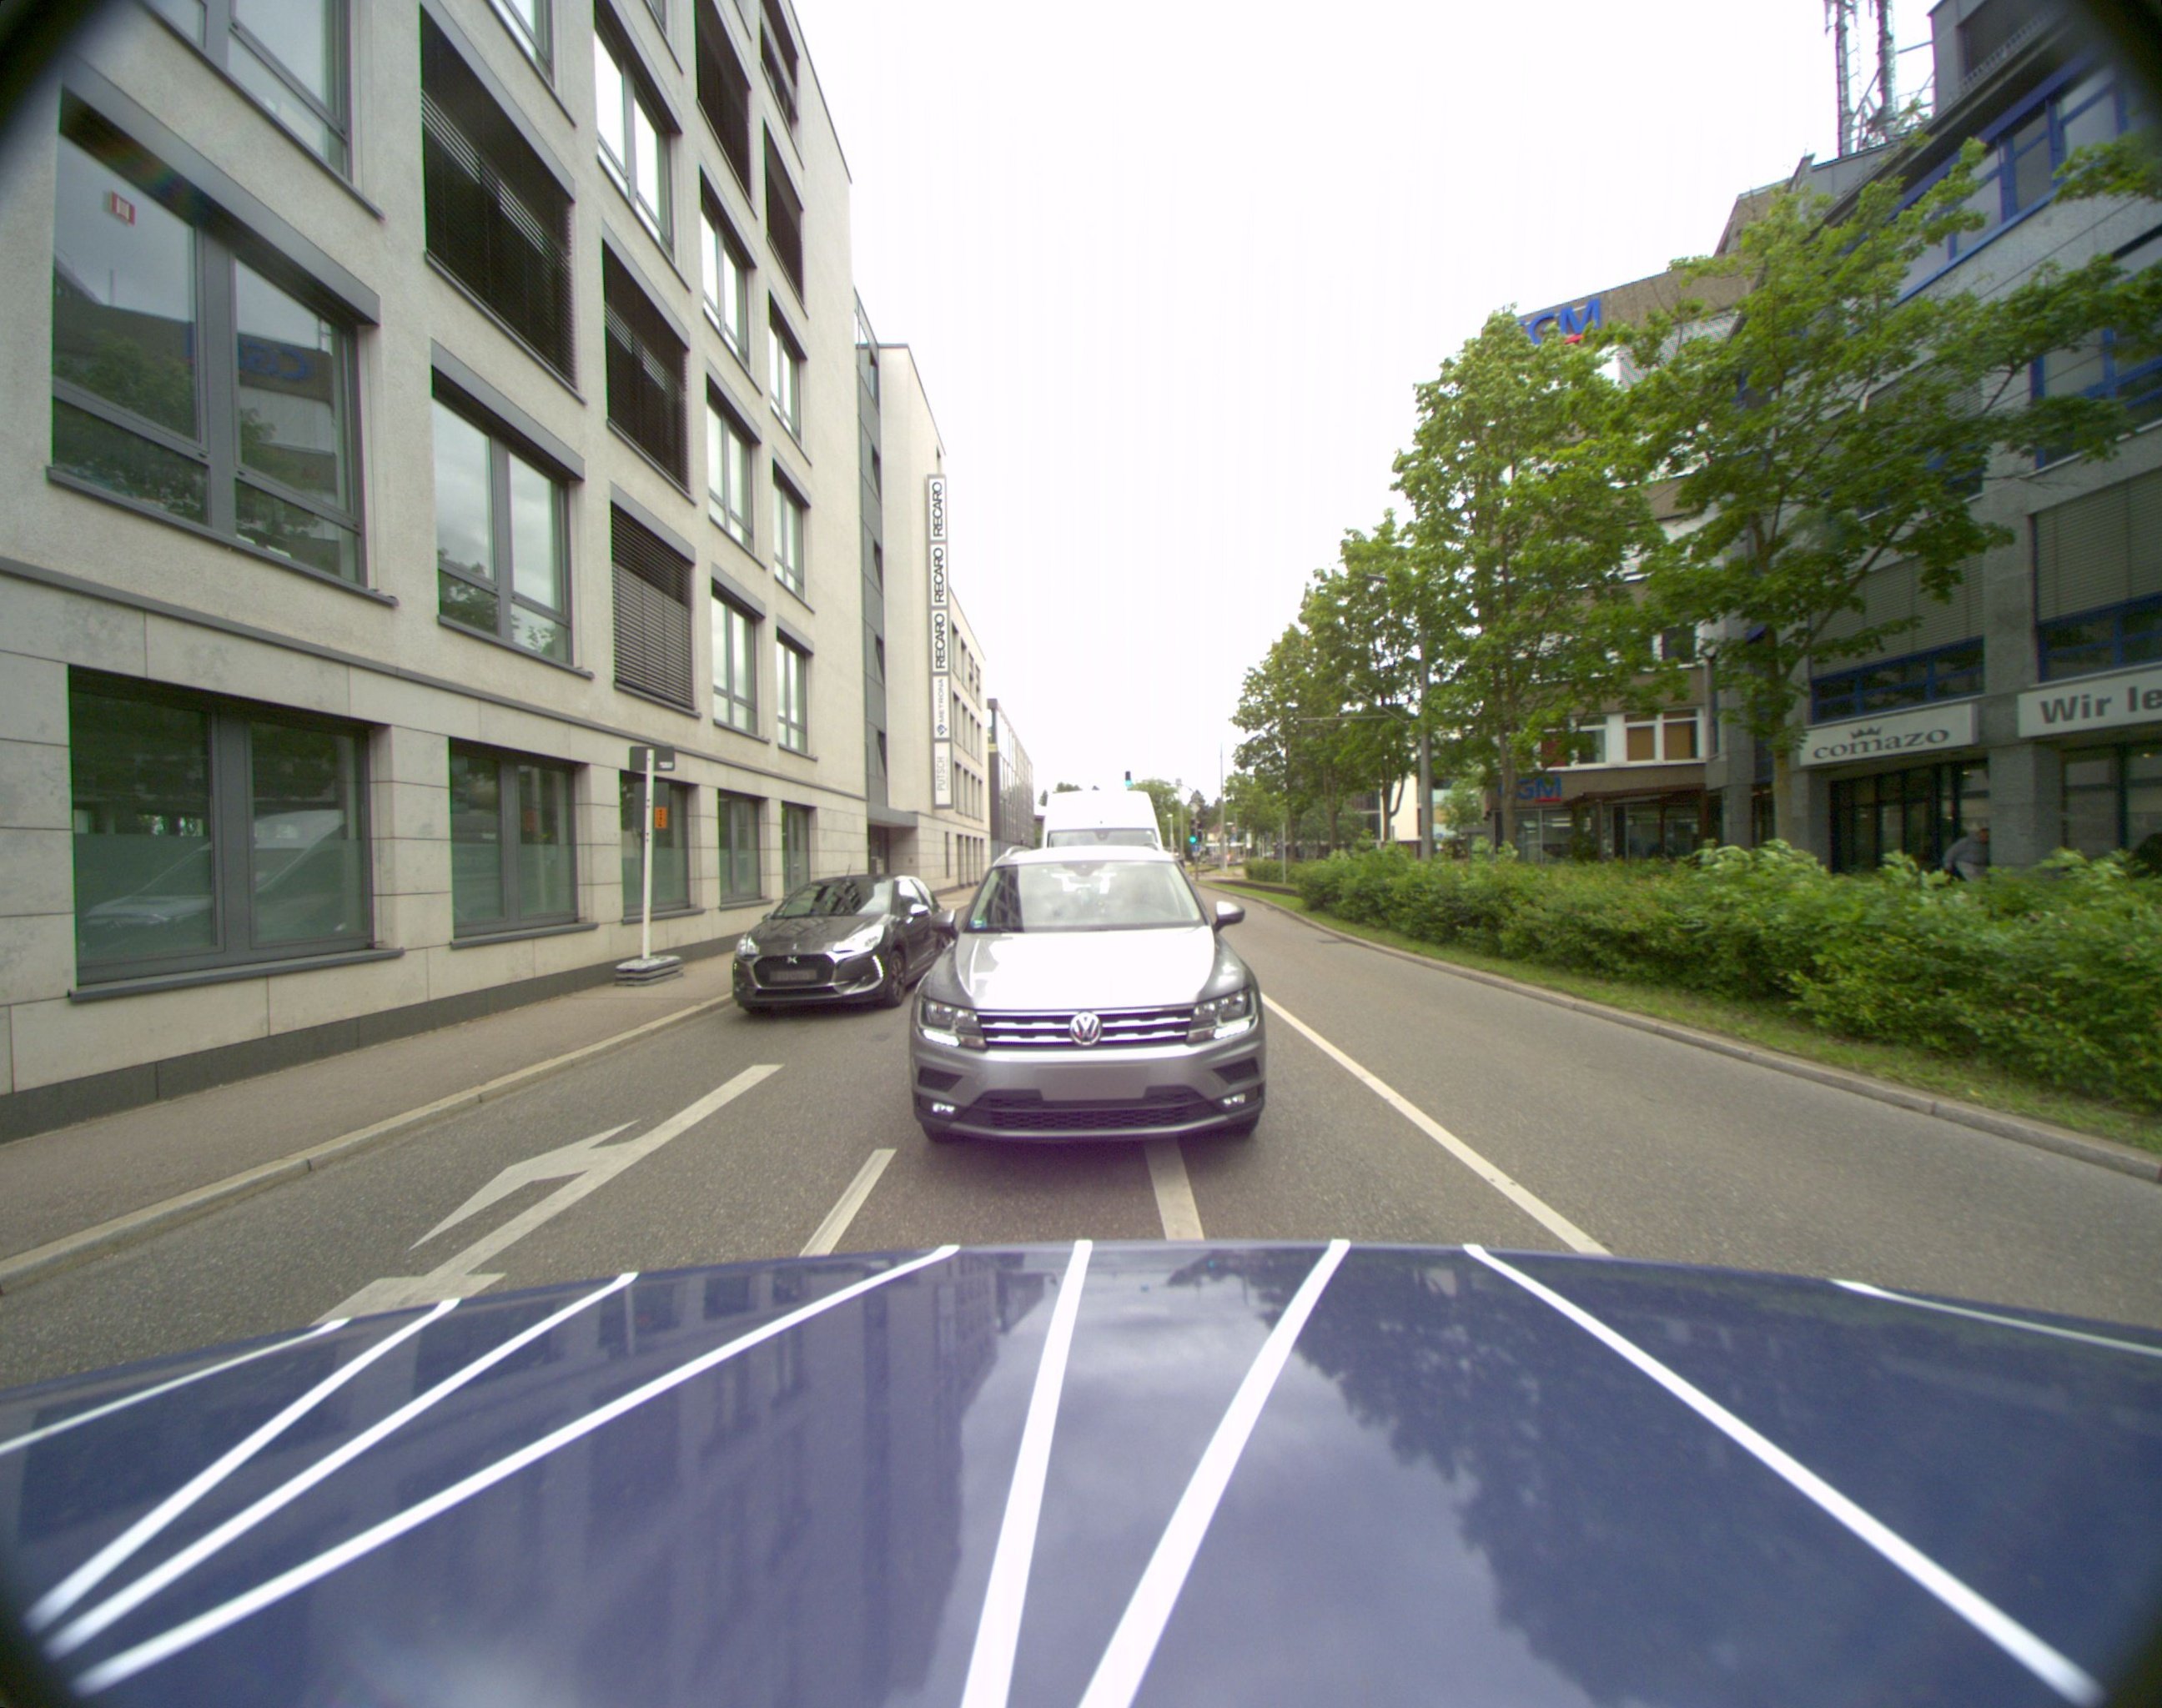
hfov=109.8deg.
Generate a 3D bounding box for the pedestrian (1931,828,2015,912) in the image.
[{"bbox_3d":[16.382,0.293,13.970,0.699,1.474,0.679,-3,0,1],"label":"pedestrian"}]

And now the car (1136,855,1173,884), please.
[{"bbox_3d":[4.205,0.832,43.915,1.754,1.579,4.135,0,0,1],"label":"car"}]

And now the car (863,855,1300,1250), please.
[{"bbox_3d":[0.031,0.879,5.499,1.833,1.636,4.326,-3,0,1],"label":"car"}]

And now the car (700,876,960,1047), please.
[{"bbox_3d":[-2.755,1.098,9.387,1.705,1.452,4.062,-3,0,1],"label":"car"}]

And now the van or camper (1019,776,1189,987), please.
[{"bbox_3d":[0.298,0.358,13.167,2.110,2.674,6.299,-3,0,0],"label":"van or camper"}]

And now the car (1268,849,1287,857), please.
[{"bbox_3d":[47.246,-0.191,182.681,4.006,1.888,1.995,-3,1,-34],"label":"car"}]
